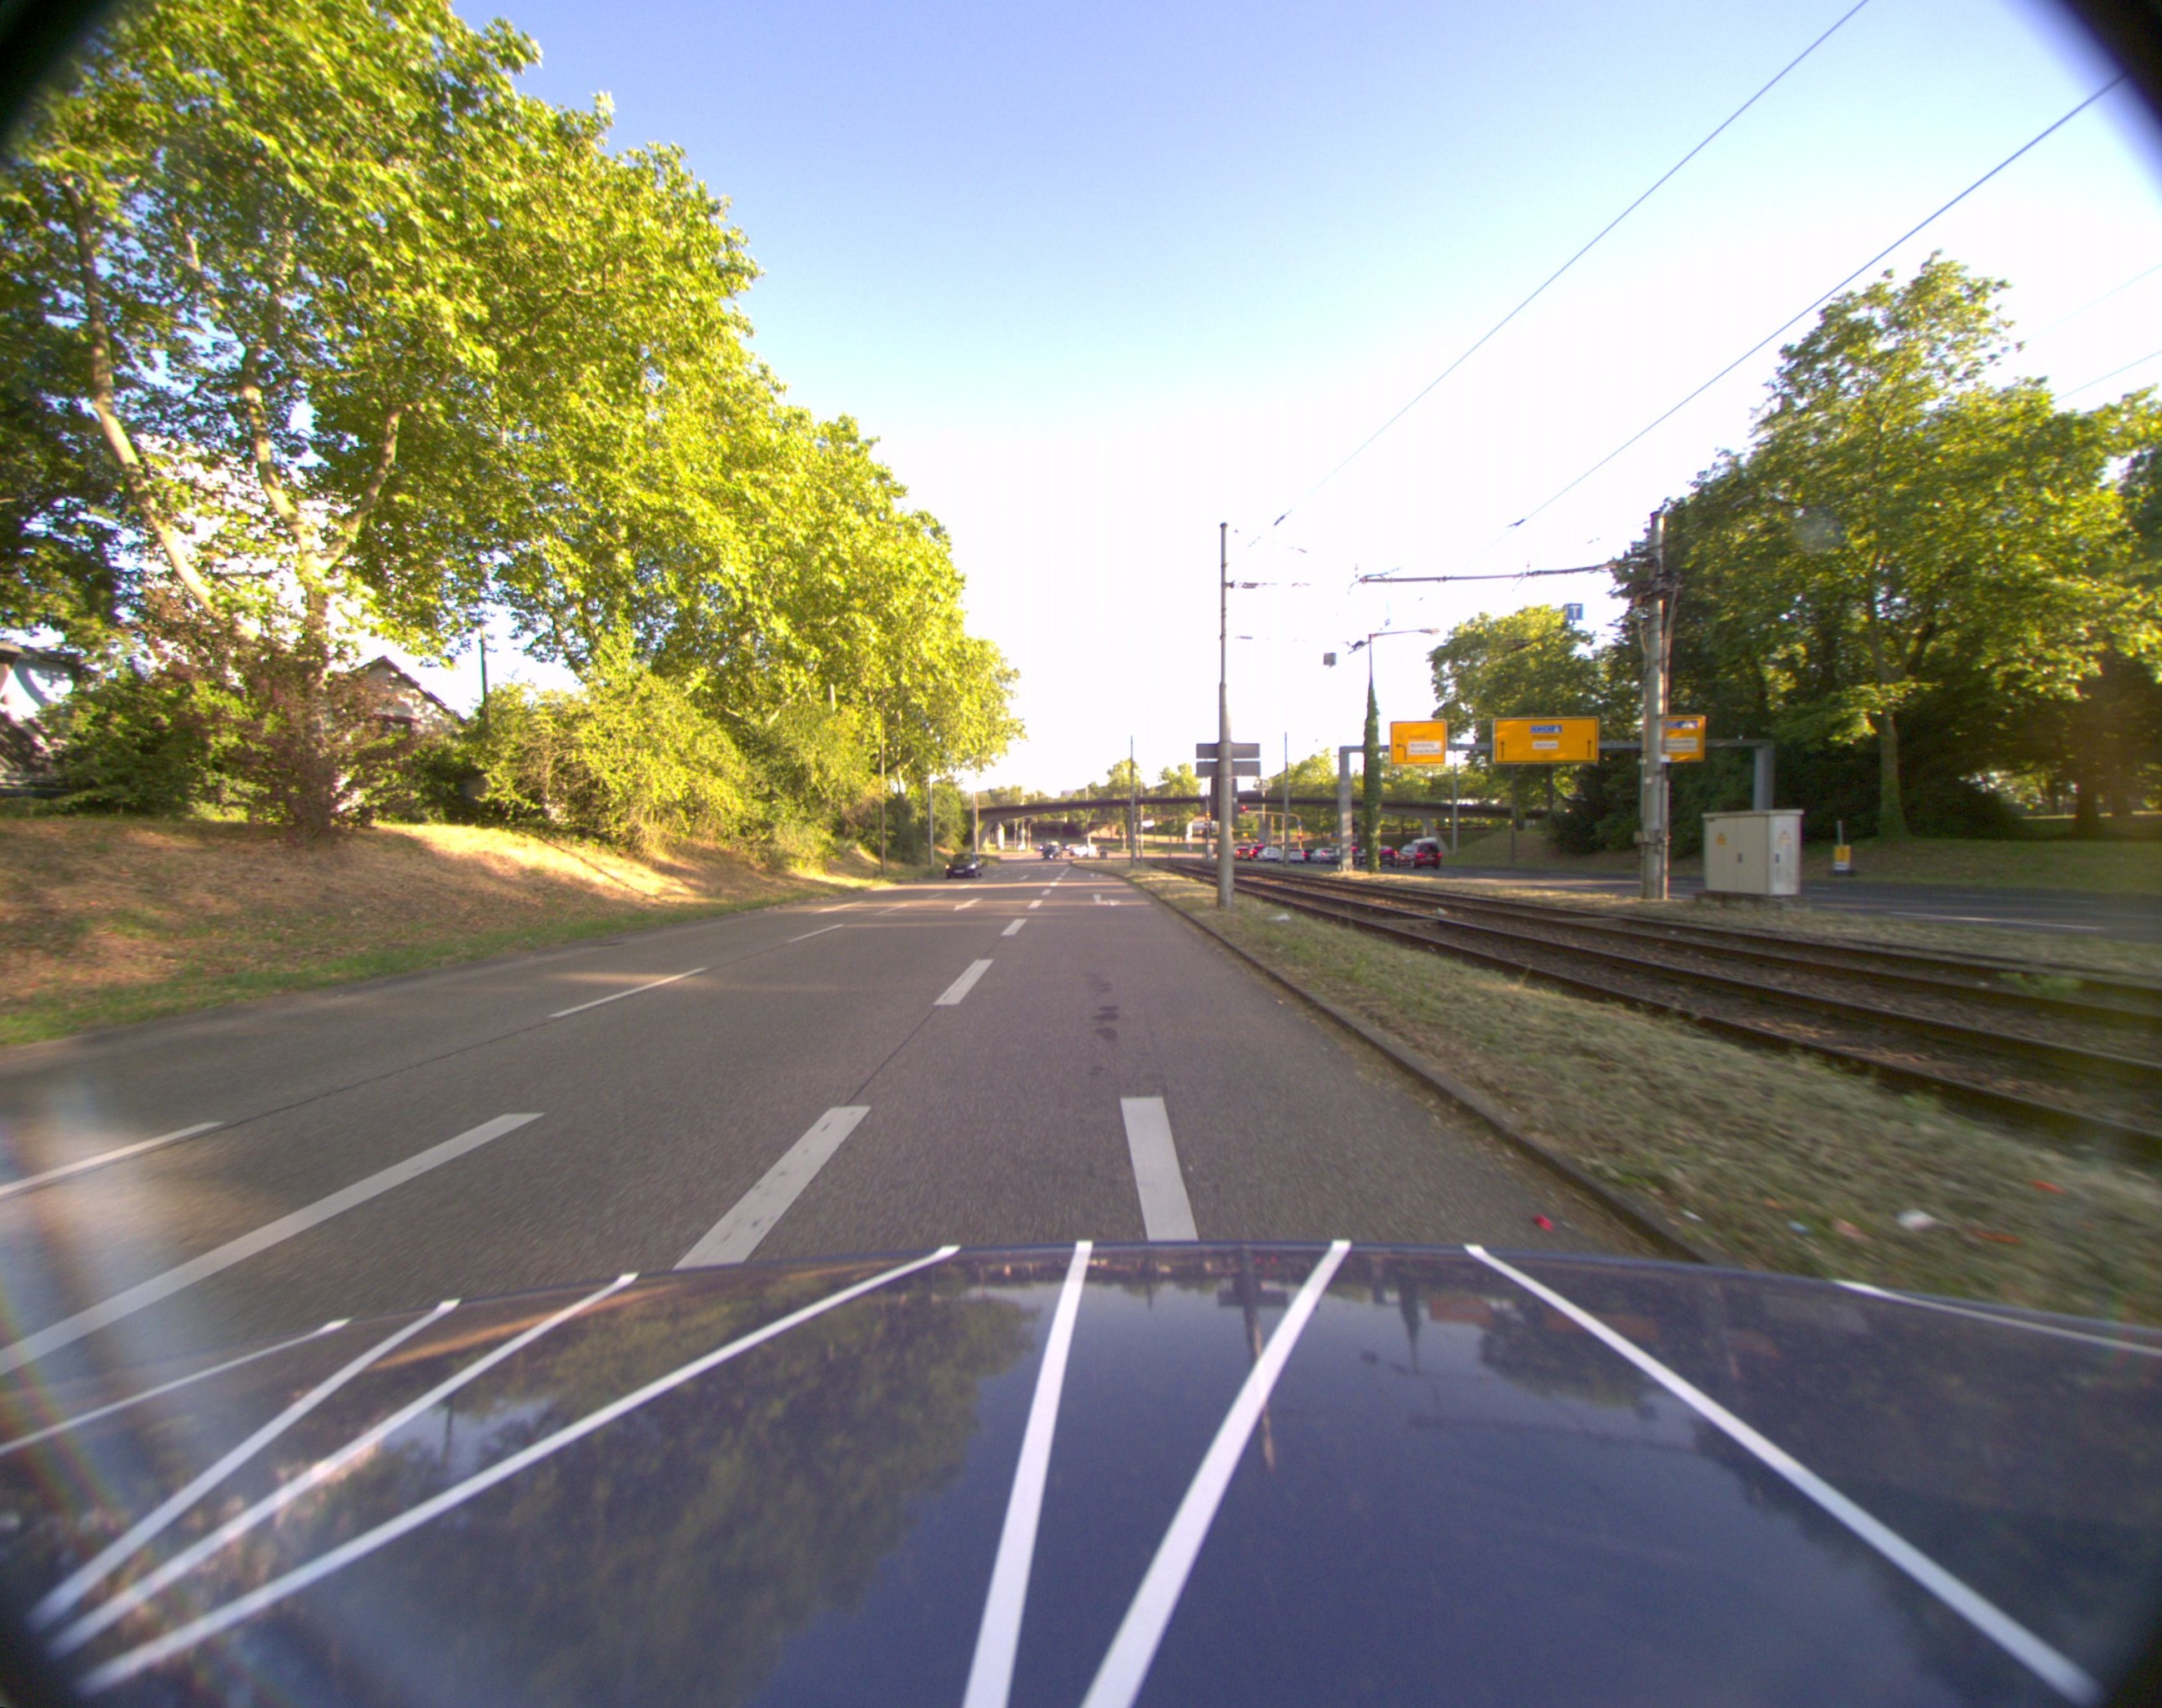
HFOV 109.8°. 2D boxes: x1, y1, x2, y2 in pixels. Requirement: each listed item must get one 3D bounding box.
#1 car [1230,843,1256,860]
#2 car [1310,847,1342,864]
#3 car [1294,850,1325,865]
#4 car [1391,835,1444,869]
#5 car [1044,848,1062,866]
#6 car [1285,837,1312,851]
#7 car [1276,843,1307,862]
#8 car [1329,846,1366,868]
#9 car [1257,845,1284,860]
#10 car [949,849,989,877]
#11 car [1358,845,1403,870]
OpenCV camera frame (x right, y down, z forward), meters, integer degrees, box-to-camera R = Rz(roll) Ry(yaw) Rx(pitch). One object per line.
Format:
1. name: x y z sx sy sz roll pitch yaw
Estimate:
1. car: 15.535 -0.254 73.109 1.667 1.556 3.999 -2 1 1
2. car: 23.213 0.158 72.160 1.797 1.473 3.999 -2 1 1
3. car: 23.310 0.341 77.628 1.797 1.375 4.475 -2 1 1
4. car: 22.606 -0.177 51.198 1.797 2.093 3.999 -2 1 1
5. car: -3.515 0.400 95.711 1.998 2.150 4.191 -2 1 2
6. car: 23.611 -1.071 82.700 1.797 1.434 3.999 -2 1 1
7. car: 19.324 -0.164 69.920 1.667 1.556 4.190 -2 1 1
8. car: 22.549 0.250 64.465 1.797 1.740 3.999 -2 1 1
9. car: 19.144 -0.208 76.894 1.746 1.424 4.411 1 1 3
10. car: -6.476 0.510 44.127 1.629 1.434 3.984 -2 1 1
11. car: 22.665 0.218 57.609 1.797 1.740 4.240 -2 1 1
